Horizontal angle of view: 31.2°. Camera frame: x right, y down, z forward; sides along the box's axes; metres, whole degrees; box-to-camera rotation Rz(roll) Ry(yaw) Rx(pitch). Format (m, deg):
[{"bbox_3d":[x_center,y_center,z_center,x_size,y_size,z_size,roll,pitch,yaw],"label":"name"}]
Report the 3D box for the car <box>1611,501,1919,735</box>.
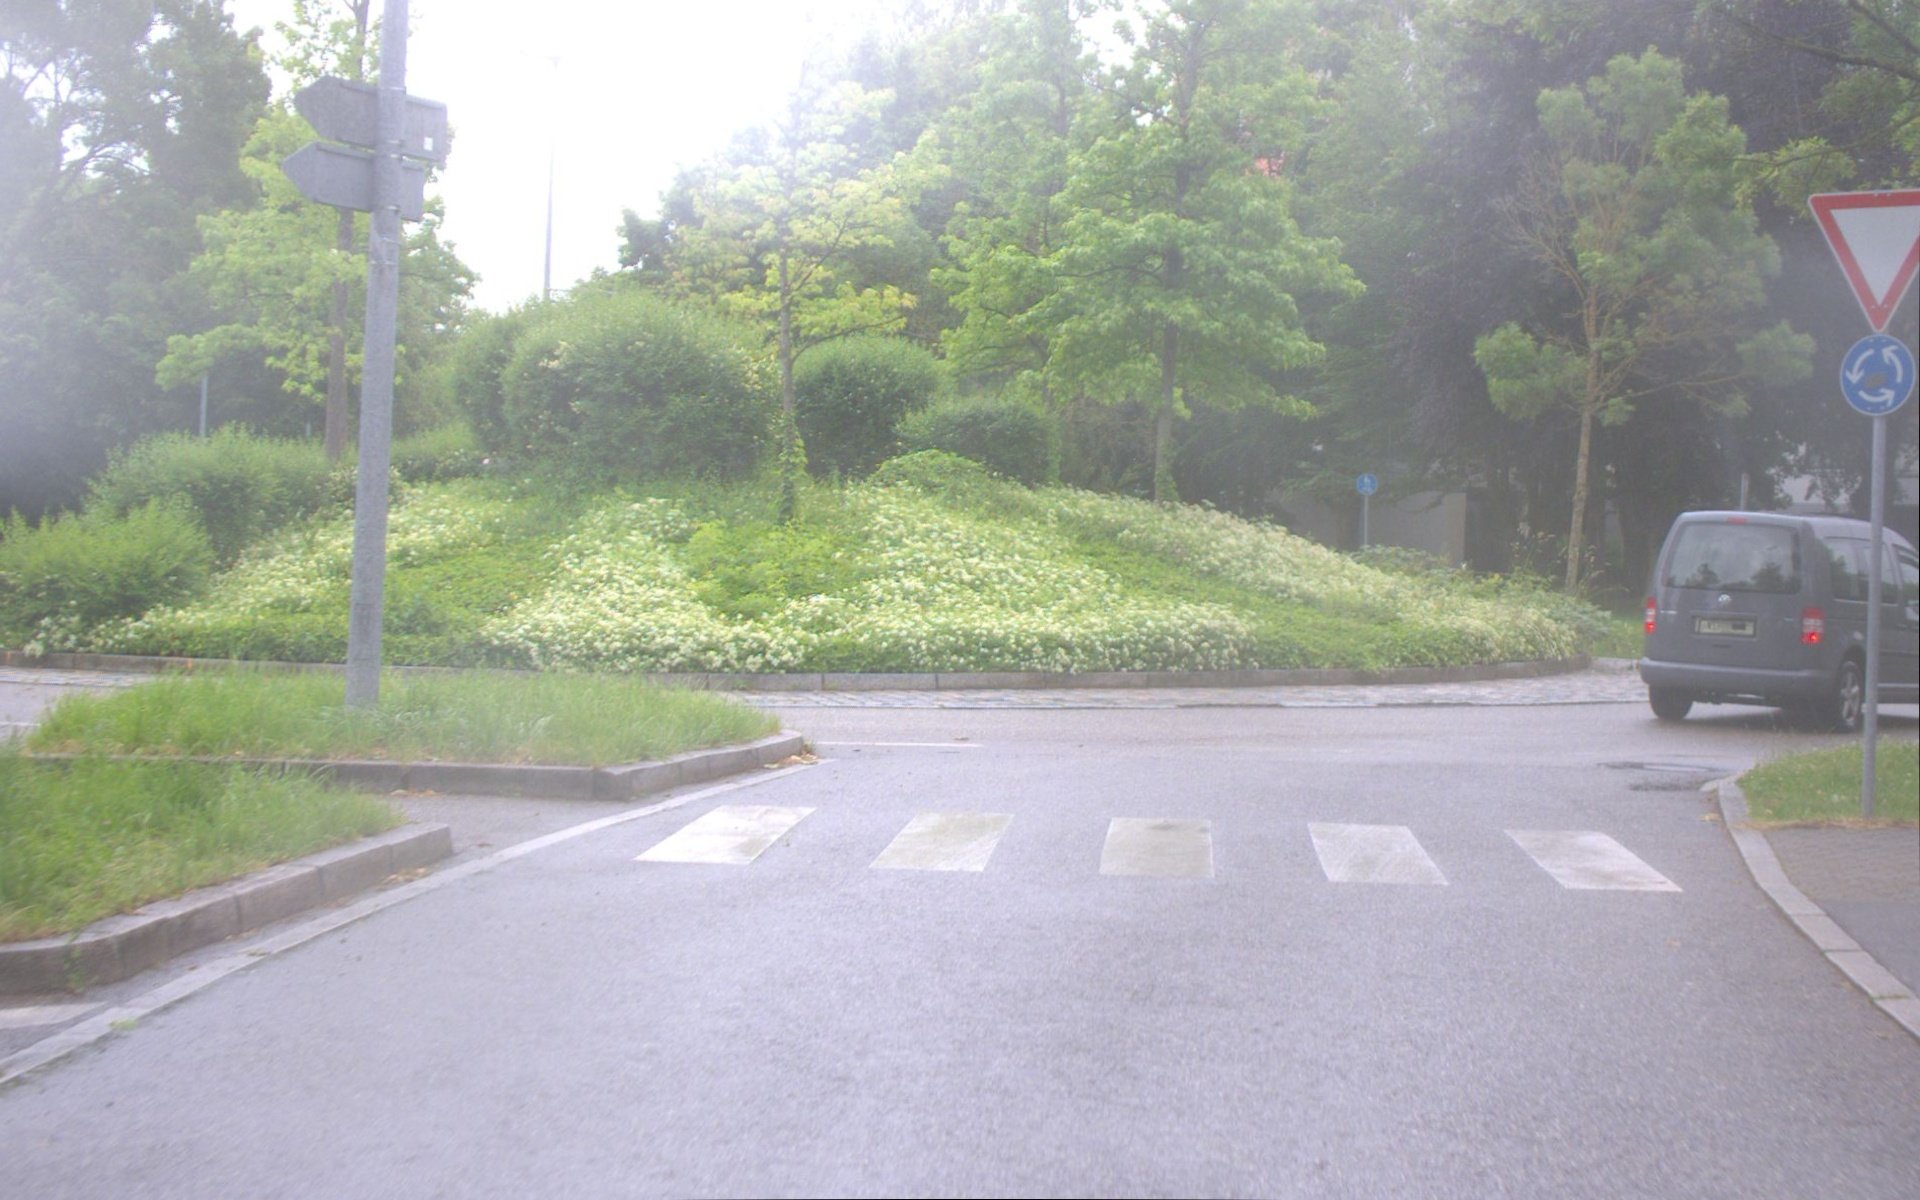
[{"bbox_3d":[7.358,0.090,30.075,1.922,1.795,3.783,4,4,33],"label":"car"}]
